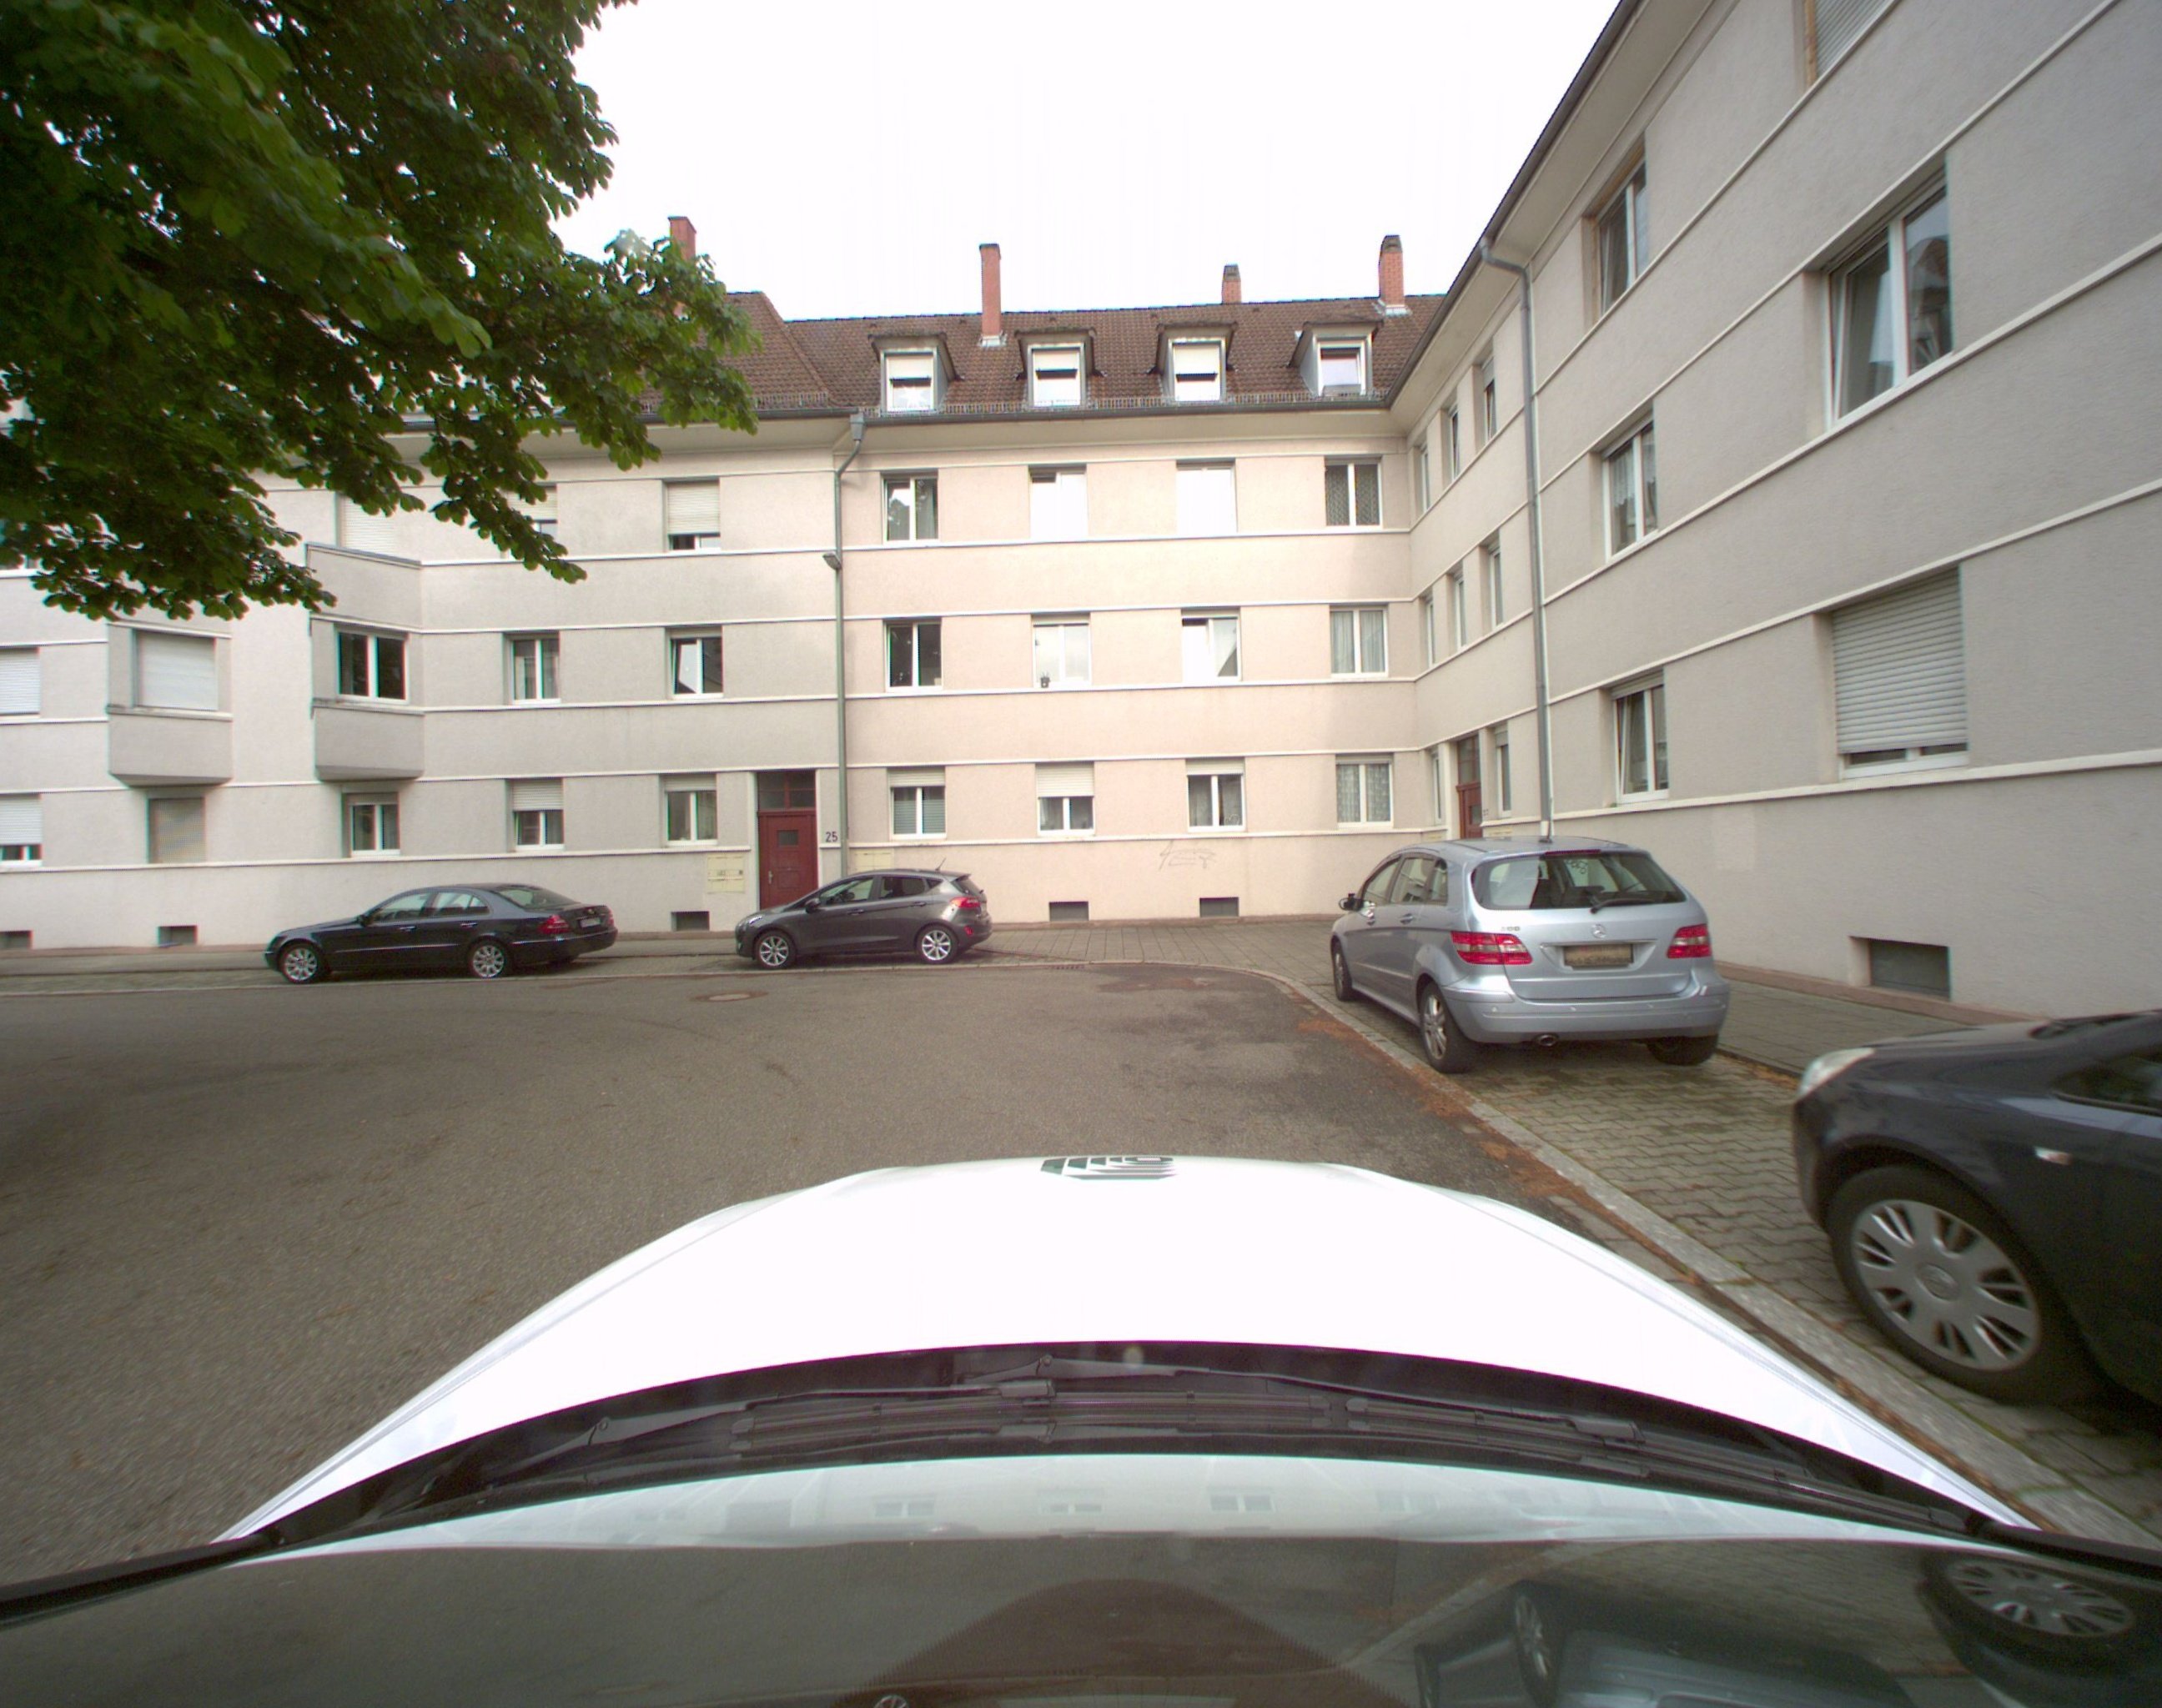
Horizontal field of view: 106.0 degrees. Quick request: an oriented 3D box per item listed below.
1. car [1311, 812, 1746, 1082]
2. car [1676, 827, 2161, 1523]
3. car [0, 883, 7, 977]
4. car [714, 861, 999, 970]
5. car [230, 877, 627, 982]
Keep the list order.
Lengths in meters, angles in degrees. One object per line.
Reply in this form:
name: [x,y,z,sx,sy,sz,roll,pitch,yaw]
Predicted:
car: [3.330,0.609,7.112,1.748,1.628,4.205,-1,-1,5]
car: [3.146,0.659,1.199,1.750,1.490,3.939,-1,-1,2]
car: [-21.492,1.425,13.715,4.261,1.673,1.848,-1,1,0]
car: [-3.462,0.934,13.124,4.052,1.525,1.763,-1,0,0]
car: [-10.262,1.151,13.085,4.917,1.421,1.751,-1,0,0]
